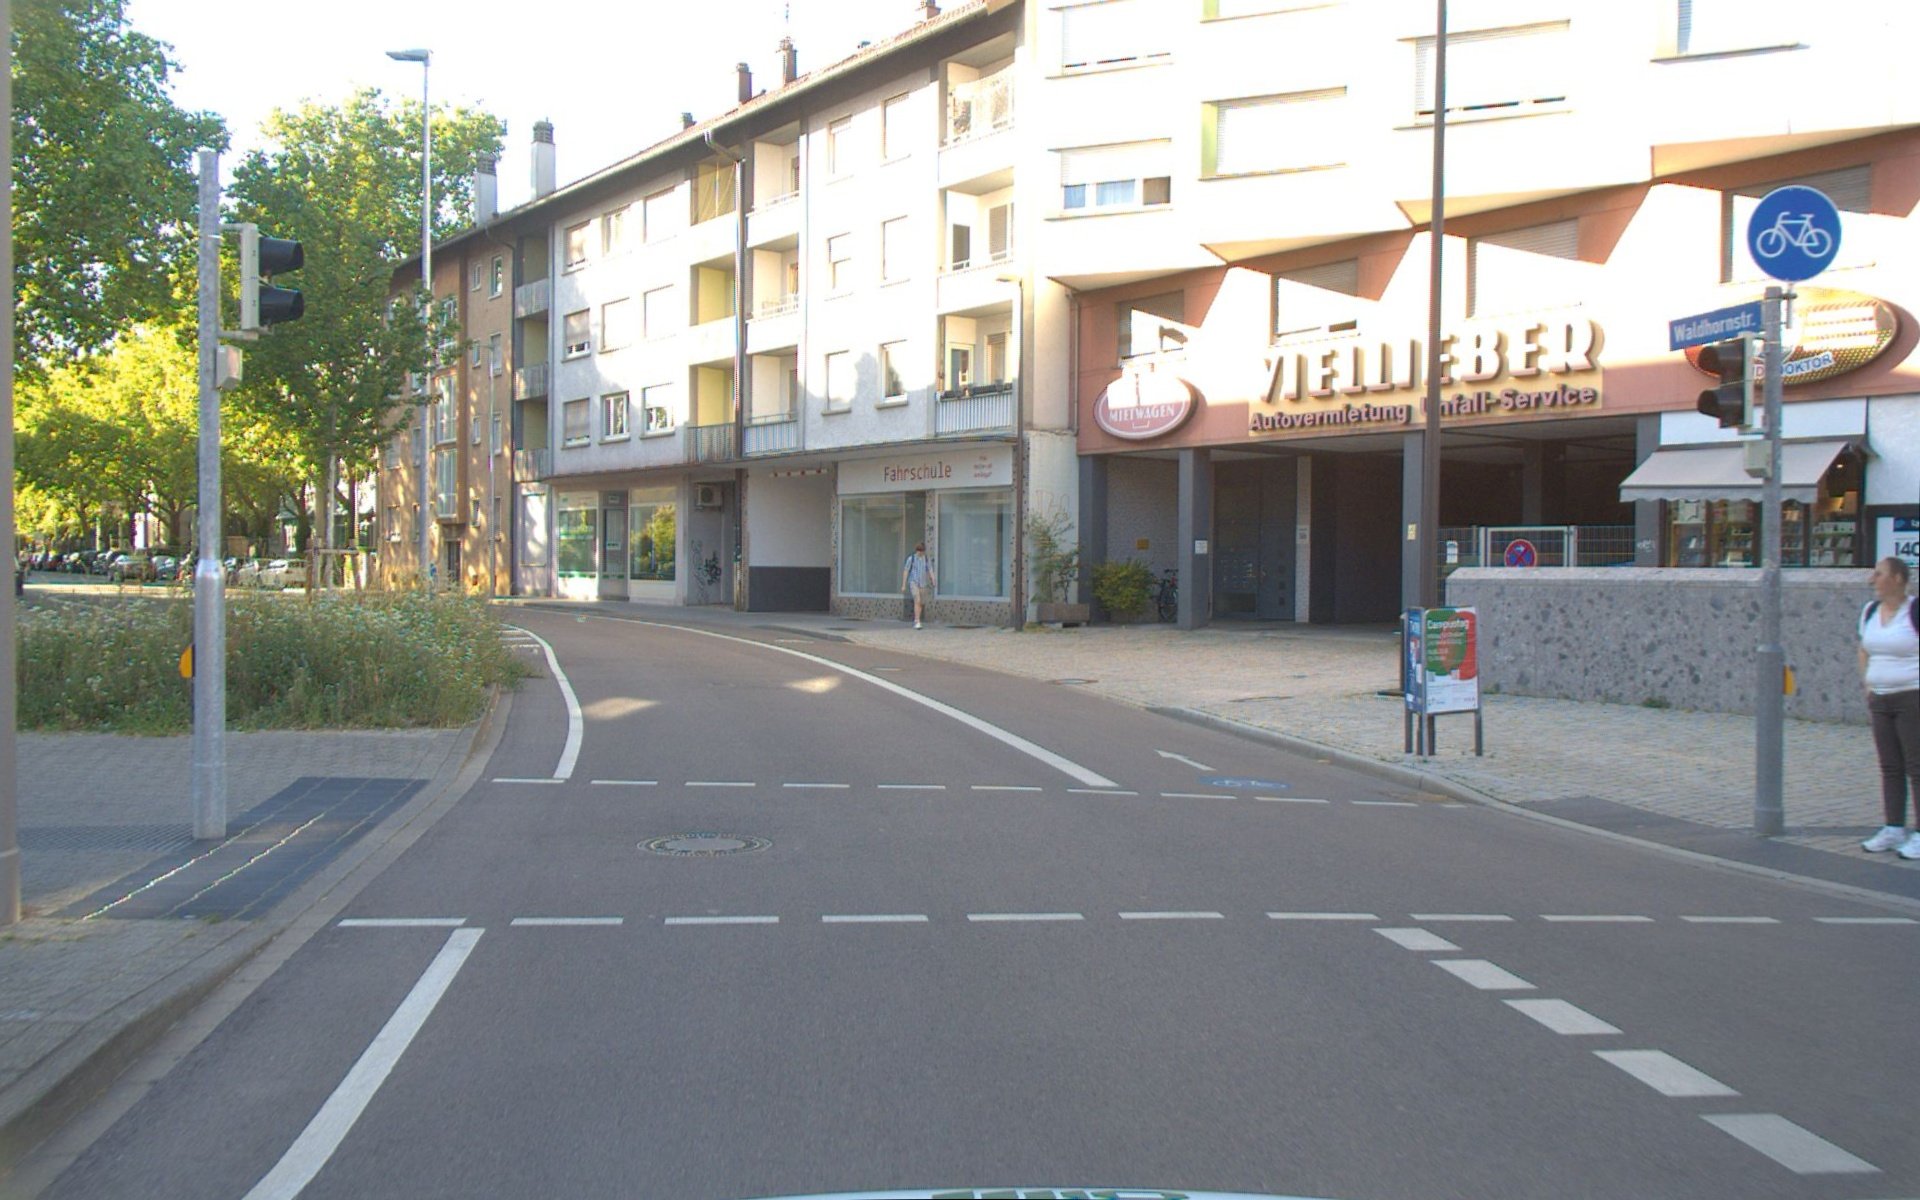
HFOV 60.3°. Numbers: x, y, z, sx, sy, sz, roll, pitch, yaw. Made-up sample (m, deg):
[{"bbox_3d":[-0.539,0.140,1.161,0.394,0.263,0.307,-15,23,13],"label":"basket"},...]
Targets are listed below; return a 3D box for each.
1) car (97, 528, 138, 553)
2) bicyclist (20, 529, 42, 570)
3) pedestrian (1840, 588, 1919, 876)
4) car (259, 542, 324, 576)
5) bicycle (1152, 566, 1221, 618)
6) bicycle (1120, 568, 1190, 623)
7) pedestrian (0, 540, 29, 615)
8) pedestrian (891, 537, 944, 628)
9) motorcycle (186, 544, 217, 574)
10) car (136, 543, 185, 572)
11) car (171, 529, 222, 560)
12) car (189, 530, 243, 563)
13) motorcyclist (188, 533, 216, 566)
[{"bbox_3d":[-60.991,-4.305,119.727,2.017,1.772,4.041,-1,3,-37],"label":"car"},{"bbox_3d":[-46.124,-2.514,82.094,0.811,1.981,0.845,-1,4,-41],"label":"bicyclist"},{"bbox_3d":[5.587,0.750,9.661,0.534,1.611,0.550,0,3,-35],"label":"pedestrian"},{"bbox_3d":[-32.975,-2.048,81.548,2.018,1.530,4.042,-1,4,-36],"label":"car"},{"bbox_3d":[4.895,-0.178,35.884,0.490,1.056,1.618,-1,3,-36],"label":"bicycle"},{"bbox_3d":[4.171,-0.112,35.484,0.490,1.056,1.618,-1,4,-36],"label":"bicycle"},{"bbox_3d":[-22.843,-0.544,39.645,0.800,1.754,0.765,0,3,-40],"label":"pedestrian"},{"bbox_3d":[-0.923,-0.393,35.713,0.726,1.886,0.936,-4,4,-37],"label":"pedestrian"},{"bbox_3d":[-33.579,-1.822,73.213,0.963,1.151,2.777,1,3,-31],"label":"motorcycle"},{"bbox_3d":[-42.851,-2.297,88.603,1.906,1.412,3.955,0,3,-33],"label":"car"},{"bbox_3d":[-46.327,-3.359,100.350,2.018,1.748,4.042,-1,4,-37],"label":"car"},{"bbox_3d":[-42.903,-3.116,95.346,2.018,1.789,4.042,-1,4,-37],"label":"car"},{"bbox_3d":[-33.496,-2.222,73.082,0.961,1.370,1.126,1,3,-31],"label":"motorcyclist"}]
